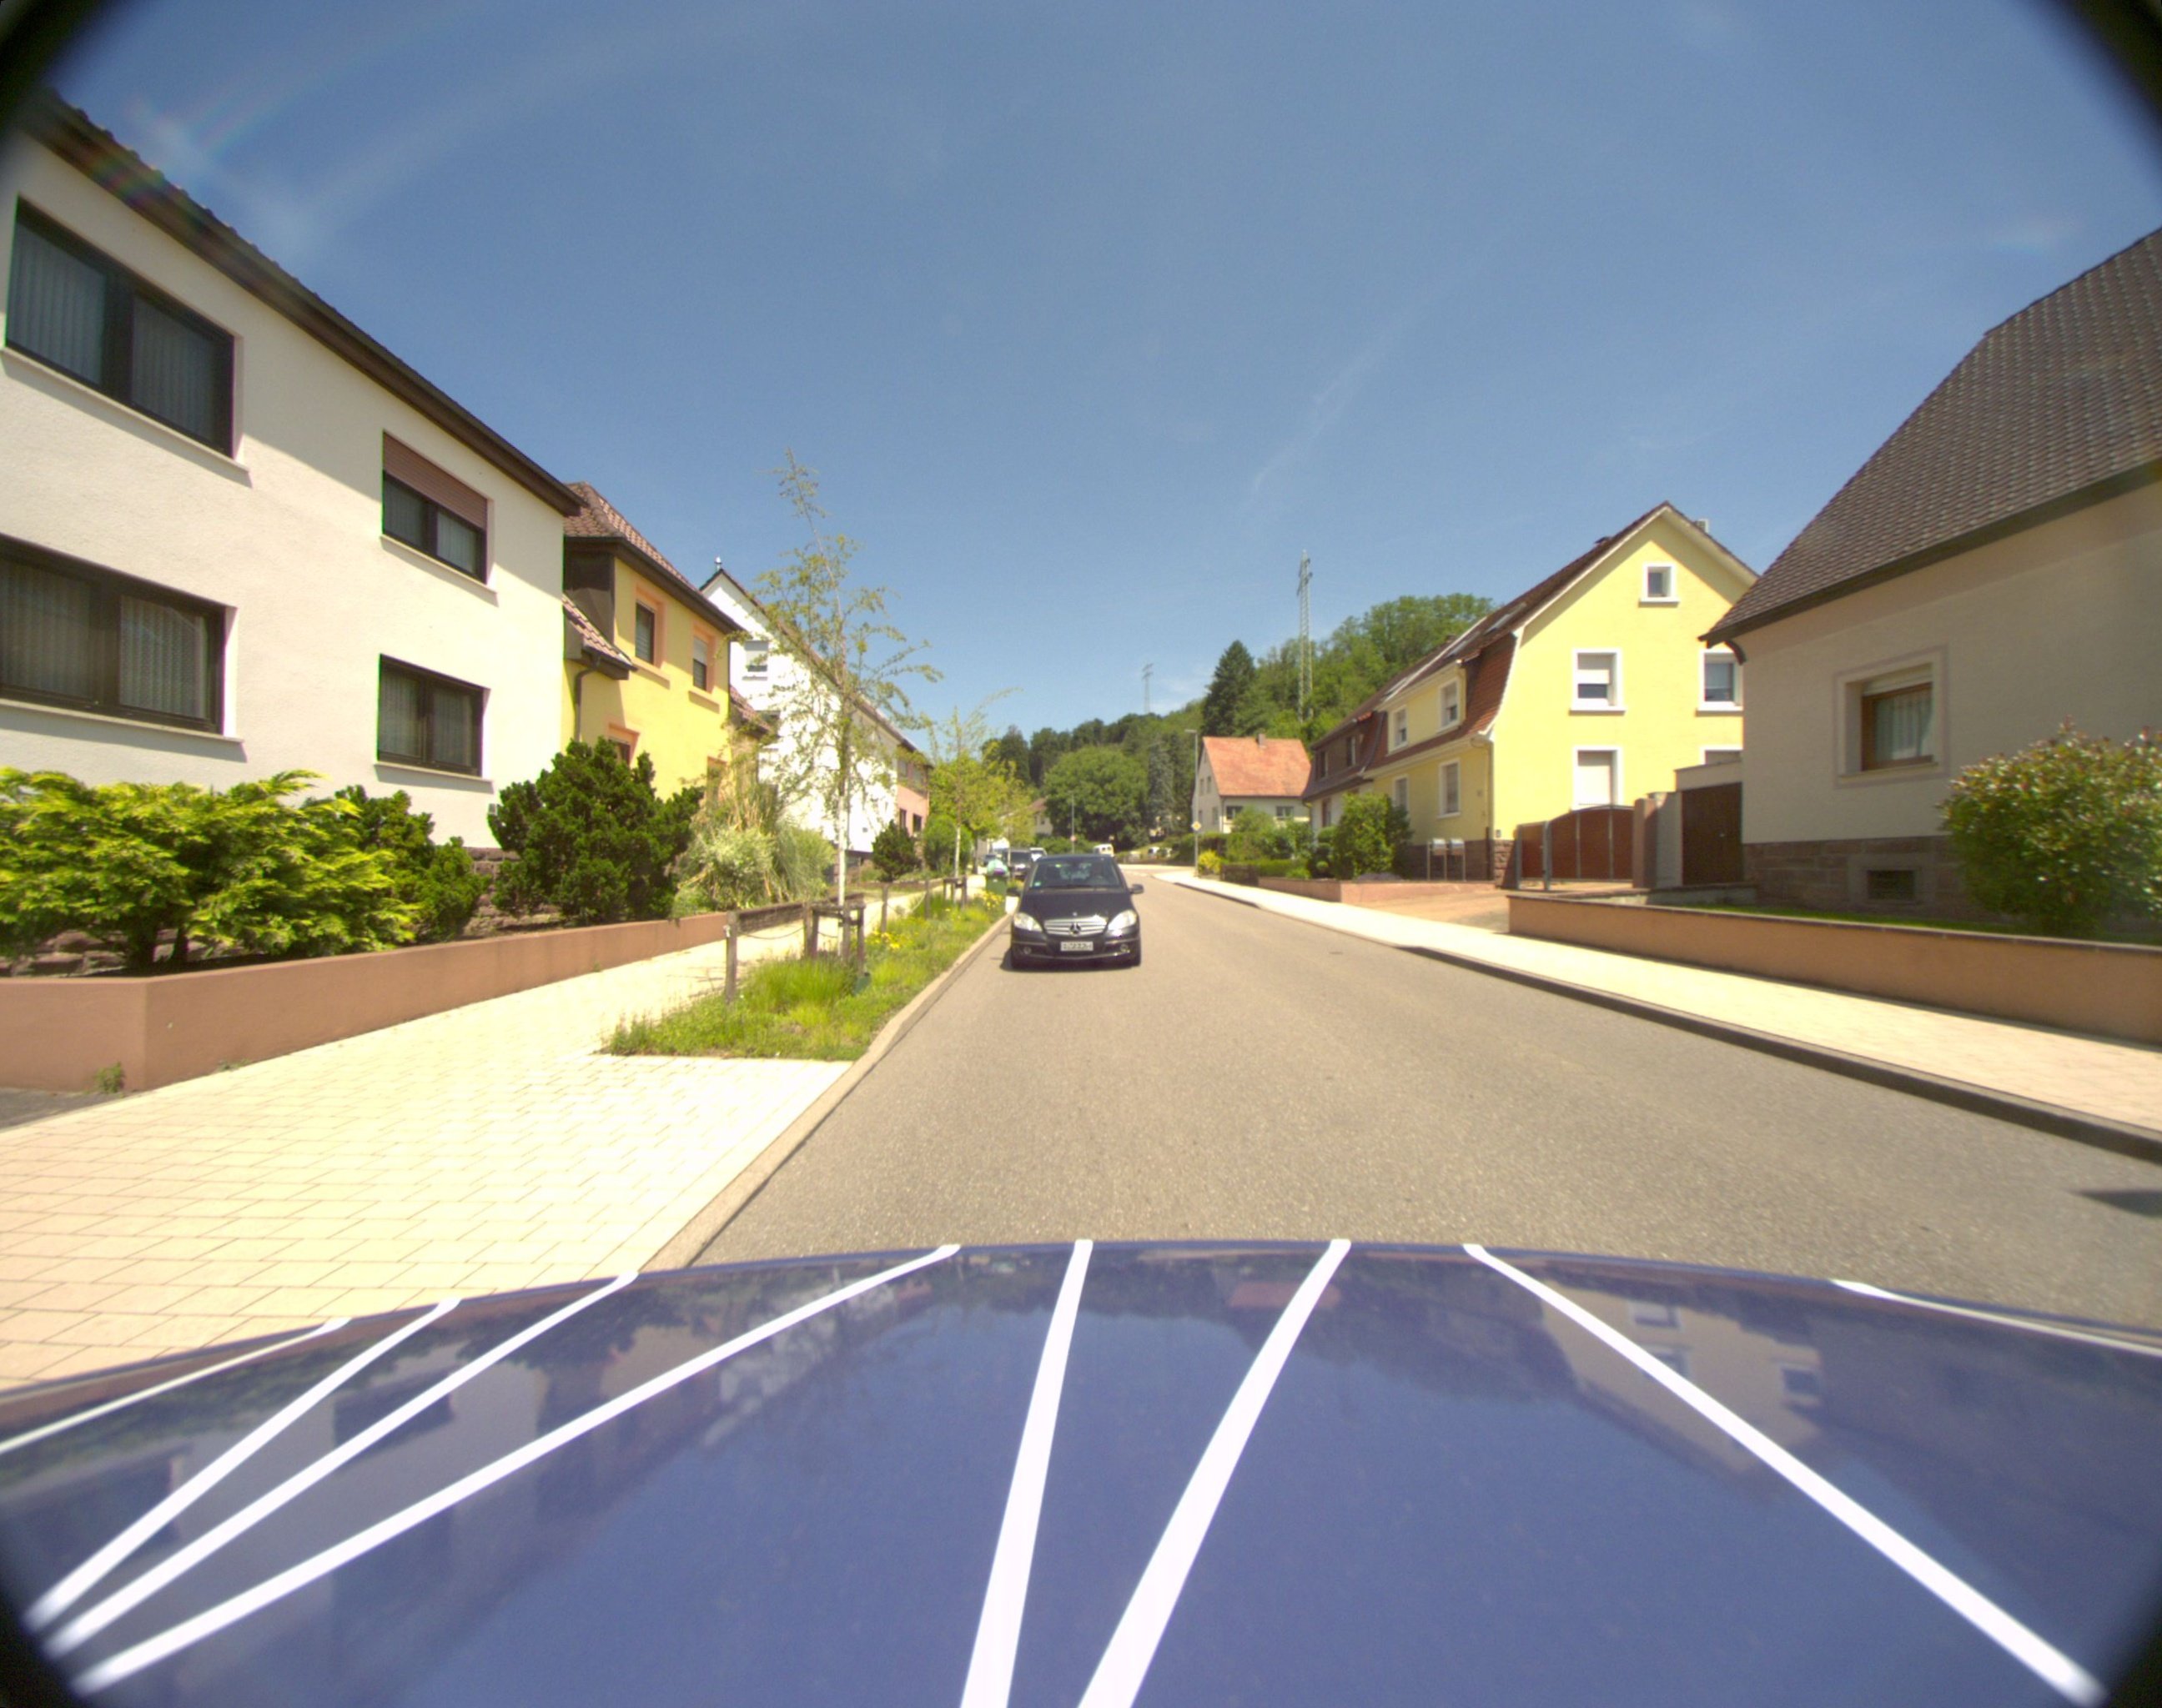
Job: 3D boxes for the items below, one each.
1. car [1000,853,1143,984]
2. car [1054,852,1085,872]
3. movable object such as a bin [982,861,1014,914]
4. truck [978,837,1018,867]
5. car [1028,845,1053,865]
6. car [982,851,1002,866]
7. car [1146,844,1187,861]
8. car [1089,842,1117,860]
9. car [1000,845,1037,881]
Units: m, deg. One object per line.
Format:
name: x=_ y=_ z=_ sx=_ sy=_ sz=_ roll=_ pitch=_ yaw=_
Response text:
car: x=-0.070 y=0.828 z=11.786 sx=1.790 sy=1.595 sz=4.075 roll=-2 pitch=1 yaw=1
car: x=-0.854 y=0.524 z=54.874 sx=1.911 sy=1.342 sz=3.997 roll=-1 pitch=1 yaw=-6
movable object such as a bin: x=-2.245 y=0.901 z=20.641 sx=0.794 sy=1.387 sz=0.925 roll=-1 pitch=1 yaw=-3
truck: x=-10.035 y=-0.208 z=91.021 sx=2.810 sy=3.394 sz=8.106 roll=-2 pitch=1 yaw=-19
car: x=-3.826 y=0.077 z=71.139 sx=1.969 sy=1.823 sz=4.461 roll=1 pitch=0 yaw=-8
car: x=-8.940 y=0.424 z=76.214 sx=1.677 sy=1.368 sz=3.996 roll=1 pitch=0 yaw=-11
car: x=9.085 y=-0.169 z=80.634 sx=4.004 sy=1.779 sz=1.807 roll=-2 pitch=1 yaw=-23
car: x=2.366 y=-0.359 z=83.226 sx=1.706 sy=1.938 sz=3.993 roll=-2 pitch=1 yaw=-19
car: x=-3.359 y=0.460 z=41.465 sx=1.860 sy=1.832 sz=4.668 roll=1 pitch=0 yaw=-4
